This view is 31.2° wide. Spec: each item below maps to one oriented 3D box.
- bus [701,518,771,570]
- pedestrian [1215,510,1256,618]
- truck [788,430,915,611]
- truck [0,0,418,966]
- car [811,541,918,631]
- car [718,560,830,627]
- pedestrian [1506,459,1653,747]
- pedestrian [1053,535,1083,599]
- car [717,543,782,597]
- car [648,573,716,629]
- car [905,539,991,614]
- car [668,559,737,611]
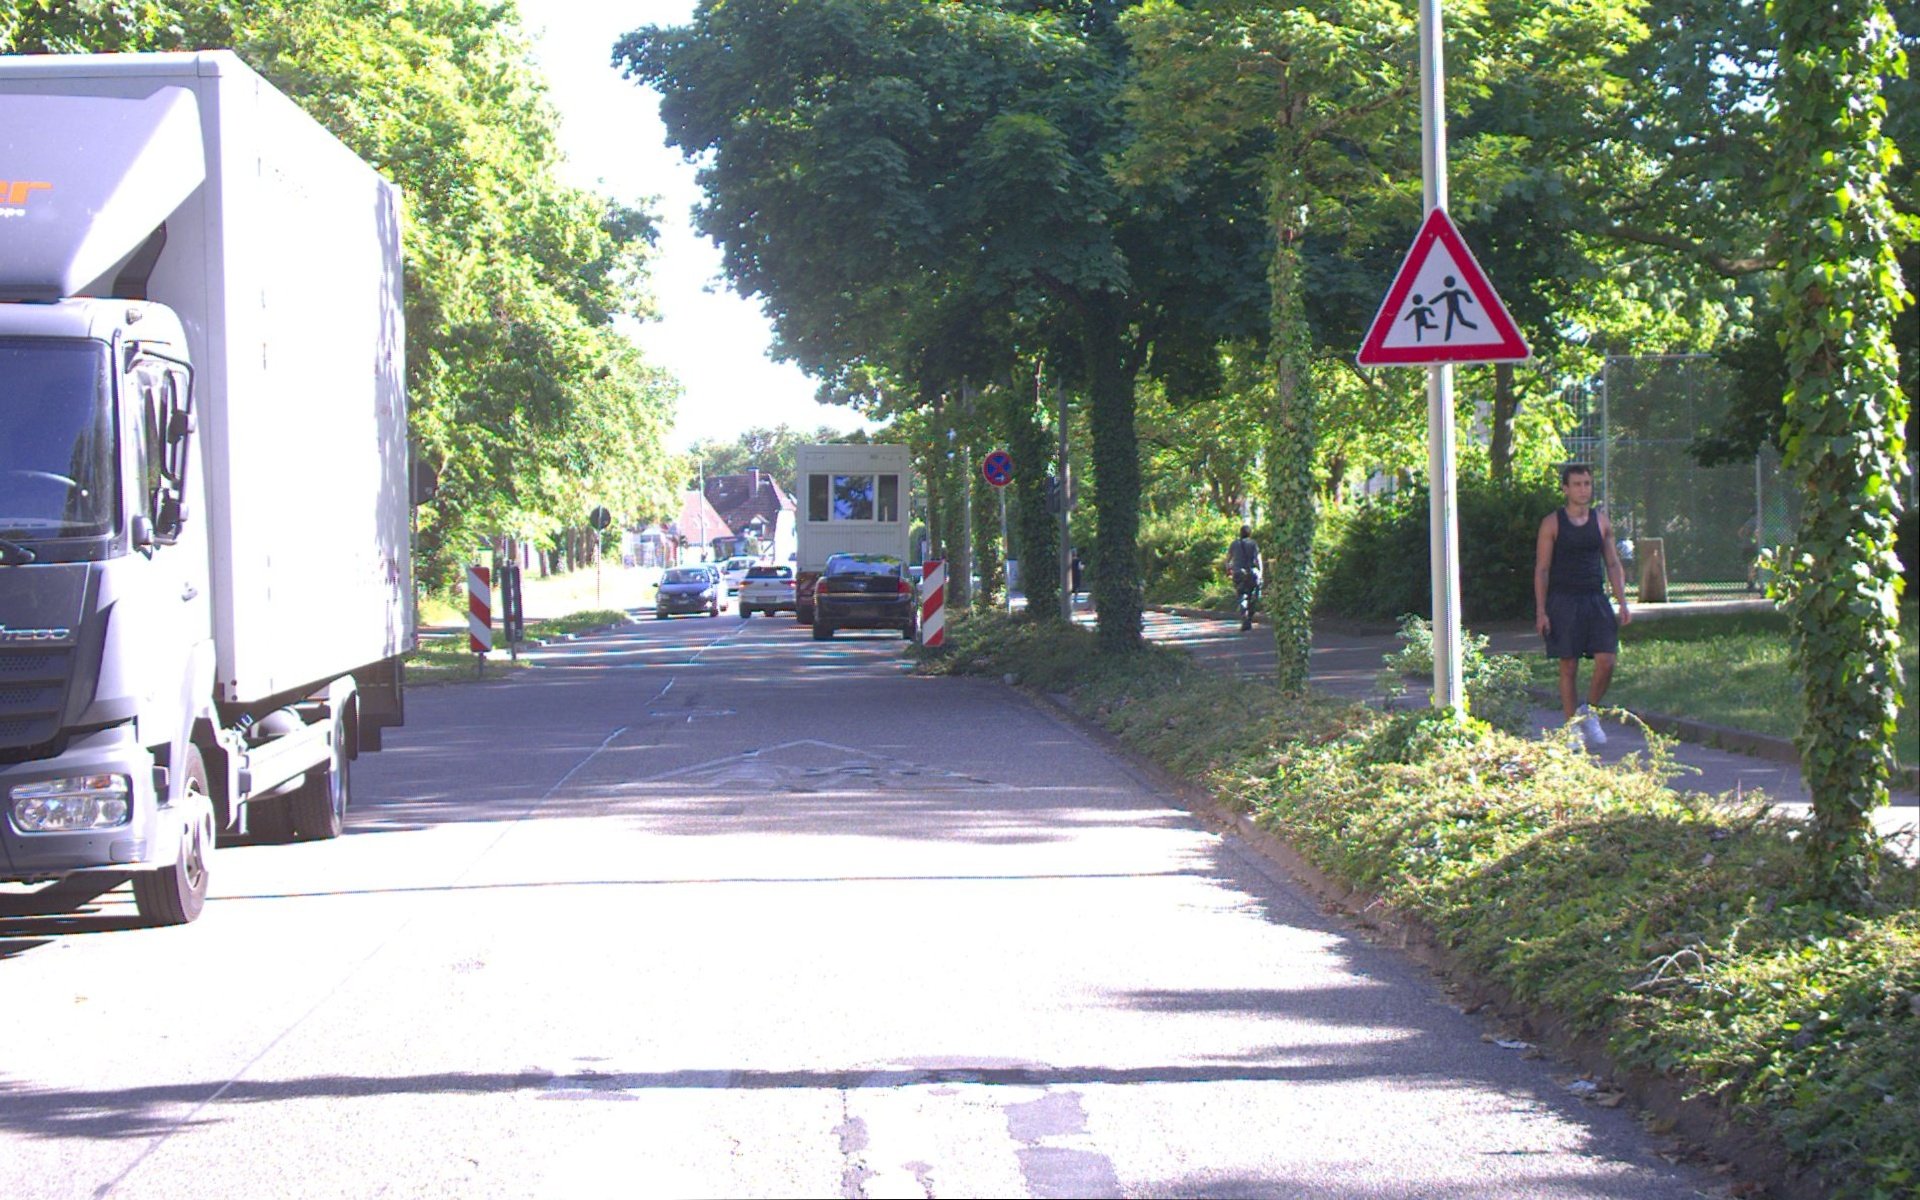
[{"bbox_3d":[-15.305,-3.870,235.704,4.065,3.337,9.801,-2,1,0],"label":"bus"},{"bbox_3d":[4.151,-0.540,51.757,0.571,1.602,0.671,-1,1,7],"label":"pedestrian"},{"bbox_3d":[-2.657,-1.825,80.956,2.772,3.982,10.350,0,1,-3],"label":"truck"},{"bbox_3d":[-4.458,-0.515,16.702,2.734,3.629,8.102,-1,1,-3],"label":"truck"},{"bbox_3d":[-1.613,-0.239,58.919,1.748,1.475,4.030,0,0,0],"label":"car"},{"bbox_3d":[-4.872,-0.190,90.465,1.994,1.678,3.998,-1,1,11],"label":"car"},{"bbox_3d":[4.004,0.014,22.252,0.791,1.826,0.671,-1,1,-2],"label":"pedestrian"},{"bbox_3d":[3.099,-0.941,98.696,0.698,1.806,0.700,-2,1,-5],"label":"pedestrian"},{"bbox_3d":[-8.175,-1.179,134.041,1.994,2.007,4.000,-2,1,4],"label":"car"},{"bbox_3d":[-7.757,0.010,96.076,1.601,1.421,3.652,-2,1,-1],"label":"car"},{"bbox_3d":[-0.249,-0.505,70.304,1.640,1.415,4.000,-3,1,0],"label":"car"},{"bbox_3d":[-7.750,-0.474,103.720,1.755,1.449,4.243,-2,1,-1],"label":"car"}]
